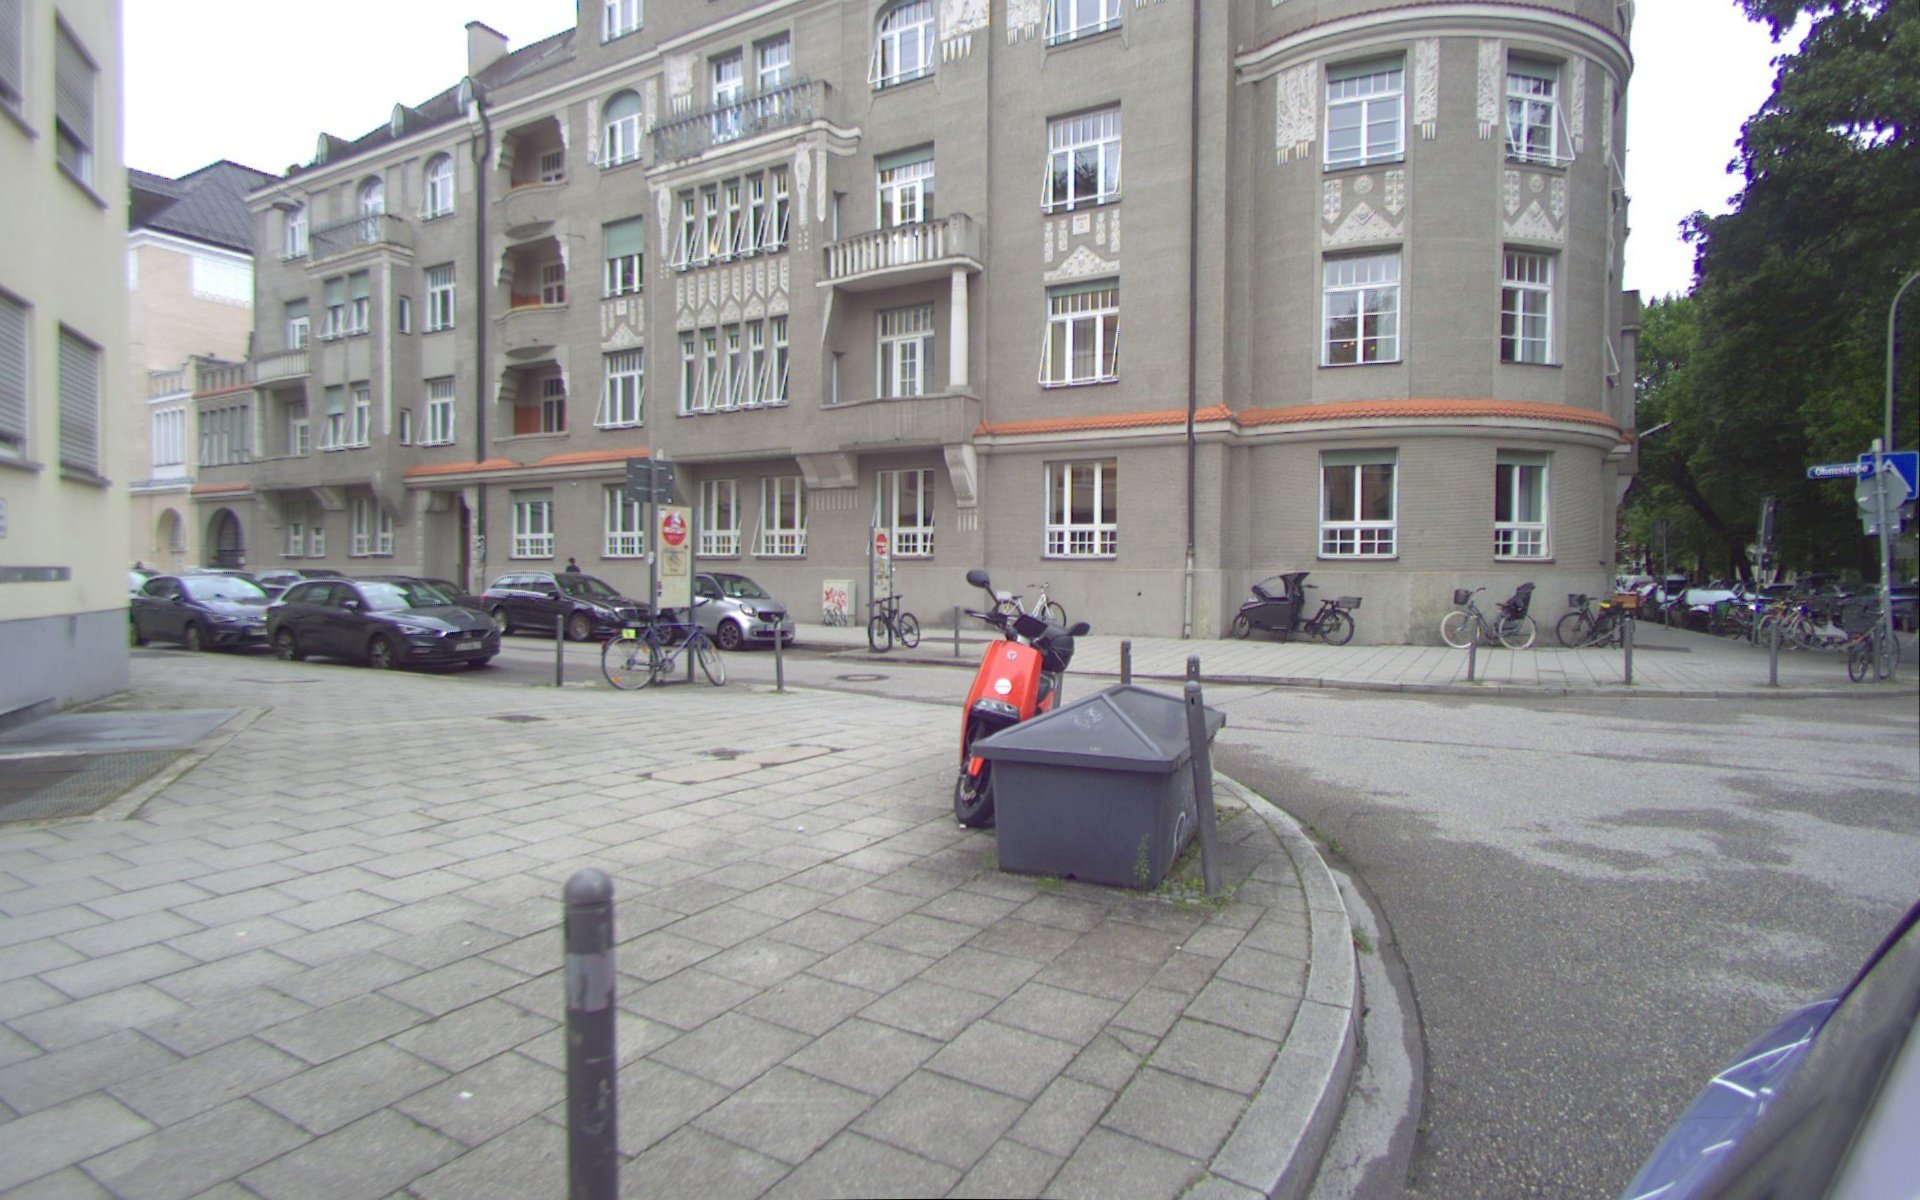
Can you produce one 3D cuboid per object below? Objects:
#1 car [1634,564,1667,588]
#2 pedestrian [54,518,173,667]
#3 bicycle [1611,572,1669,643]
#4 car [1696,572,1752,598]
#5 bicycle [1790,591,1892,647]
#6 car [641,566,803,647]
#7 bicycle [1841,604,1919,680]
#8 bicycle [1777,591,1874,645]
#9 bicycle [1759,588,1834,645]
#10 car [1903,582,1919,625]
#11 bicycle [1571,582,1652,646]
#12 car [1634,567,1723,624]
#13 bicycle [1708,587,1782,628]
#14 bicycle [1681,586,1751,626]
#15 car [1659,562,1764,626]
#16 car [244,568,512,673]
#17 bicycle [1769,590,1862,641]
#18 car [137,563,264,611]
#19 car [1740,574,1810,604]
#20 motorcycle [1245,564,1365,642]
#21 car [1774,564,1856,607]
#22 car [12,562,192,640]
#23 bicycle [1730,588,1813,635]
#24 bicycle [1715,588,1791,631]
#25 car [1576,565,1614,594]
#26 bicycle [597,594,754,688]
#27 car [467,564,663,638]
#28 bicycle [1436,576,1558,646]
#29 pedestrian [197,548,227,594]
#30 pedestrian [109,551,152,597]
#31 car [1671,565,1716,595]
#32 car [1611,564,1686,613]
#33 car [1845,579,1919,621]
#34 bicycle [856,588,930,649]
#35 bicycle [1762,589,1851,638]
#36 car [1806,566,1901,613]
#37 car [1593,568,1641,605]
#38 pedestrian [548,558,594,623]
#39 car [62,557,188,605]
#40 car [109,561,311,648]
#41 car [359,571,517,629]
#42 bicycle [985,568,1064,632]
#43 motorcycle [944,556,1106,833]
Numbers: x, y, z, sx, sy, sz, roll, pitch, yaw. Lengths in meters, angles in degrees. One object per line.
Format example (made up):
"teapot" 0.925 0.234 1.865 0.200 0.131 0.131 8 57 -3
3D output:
"car" 61.485 -2.169 90.118 1.983 1.975 4.614 1 2 29
"pedestrian" -10.982 -0.083 13.143 1.003 1.872 0.737 0 -2 20
"bicycle" 14.396 0.127 21.399 0.735 1.431 1.897 2 3 42
"car" 45.508 -0.915 60.387 1.759 1.450 4.477 1 2 26
"bicycle" 20.058 0.413 23.069 0.504 1.161 1.704 -1 3 -44
"car" -4.918 0.112 20.897 2.888 1.534 1.690 1 0 31
"bicycle" 13.888 0.595 14.941 1.966 1.022 0.513 -1 2 -23
"bicycle" 20.305 0.407 23.768 0.458 1.161 1.680 -1 3 -44
"bicycle" 17.922 0.341 21.676 1.649 1.161 0.513 -1 2 -23
"car" 32.393 0.163 32.520 1.759 1.450 4.477 1 2 26
"bicycle" 12.841 0.254 19.932 1.889 1.170 0.566 -1 5 -34
"car" 27.378 -0.247 38.724 1.980 1.975 4.620 1 2 26
"bicycle" 23.459 0.200 30.273 0.504 1.161 1.680 -1 3 -44
"bicycle" 23.625 0.166 31.637 0.504 1.161 1.680 -1 3 -44
"car" 25.325 -0.279 34.275 1.980 1.975 4.620 1 2 26
"car" -9.592 0.236 16.614 4.569 1.489 1.682 1 2 28
"bicycle" 21.026 0.364 24.895 0.504 1.161 1.680 -1 3 -44
"car" -24.391 -0.433 32.458 4.404 1.449 1.791 1 0 32
"car" 41.334 -0.580 51.441 1.759 1.450 4.477 1 2 26
"motorcycle" 6.789 0.036 19.943 2.128 1.458 0.731 1 2 29
"car" 39.201 -0.692 46.521 1.759 1.858 4.477 1 2 26
"car" -18.734 -0.029 22.093 3.816 1.555 1.625 1 2 26
"bicycle" 21.876 0.294 27.291 0.504 1.161 1.680 -1 3 -44
"bicycle" 23.093 0.257 29.486 0.504 1.161 1.680 -1 3 -44
"car" 45.022 -1.496 71.810 1.983 1.975 4.614 1 2 29
"bicycle" -3.531 0.487 12.608 1.762 1.099 0.666 0 -1 -33
"car" -9.091 -0.036 23.173 4.670 1.534 1.742 1 2 31
"bicycle" 10.119 0.193 19.116 1.889 1.271 0.738 0 2 0
"pedestrian" -30.307 -1.169 40.994 0.724 1.839 0.712 1 2 29
"pedestrian" -31.921 -1.020 38.955 0.931 1.750 0.986 1 2 29
"car" 50.892 -1.409 70.319 1.983 1.975 4.614 1 2 29
"car" 29.861 -0.567 44.040 1.980 1.975 4.620 1 2 26
"car" 34.795 -0.031 37.534 1.759 1.450 4.477 1 2 26
"bicycle" -1.243 0.328 19.112 0.535 1.027 1.791 1 3 28
"bicycle" 21.550 0.338 25.791 0.504 1.161 1.680 -1 3 -44
"car" 37.101 -0.464 42.159 1.759 1.841 4.477 1 2 26
"car" 37.283 -0.819 57.524 1.983 1.975 4.614 1 2 29
"pedestrian" -10.985 -0.281 28.609 0.929 1.809 0.832 1 2 33
"car" -28.496 -0.683 34.504 4.568 1.532 1.824 2 2 30
"car" -14.223 0.014 19.167 3.820 1.489 1.624 1 2 28
"car" -13.356 -0.046 25.842 4.064 1.347 1.742 1 2 31
"bicycle" 1.432 -0.029 22.539 1.658 1.366 0.615 1 2 26
"motorcycle" 0.441 0.457 6.113 0.803 1.373 2.081 0 0 7
